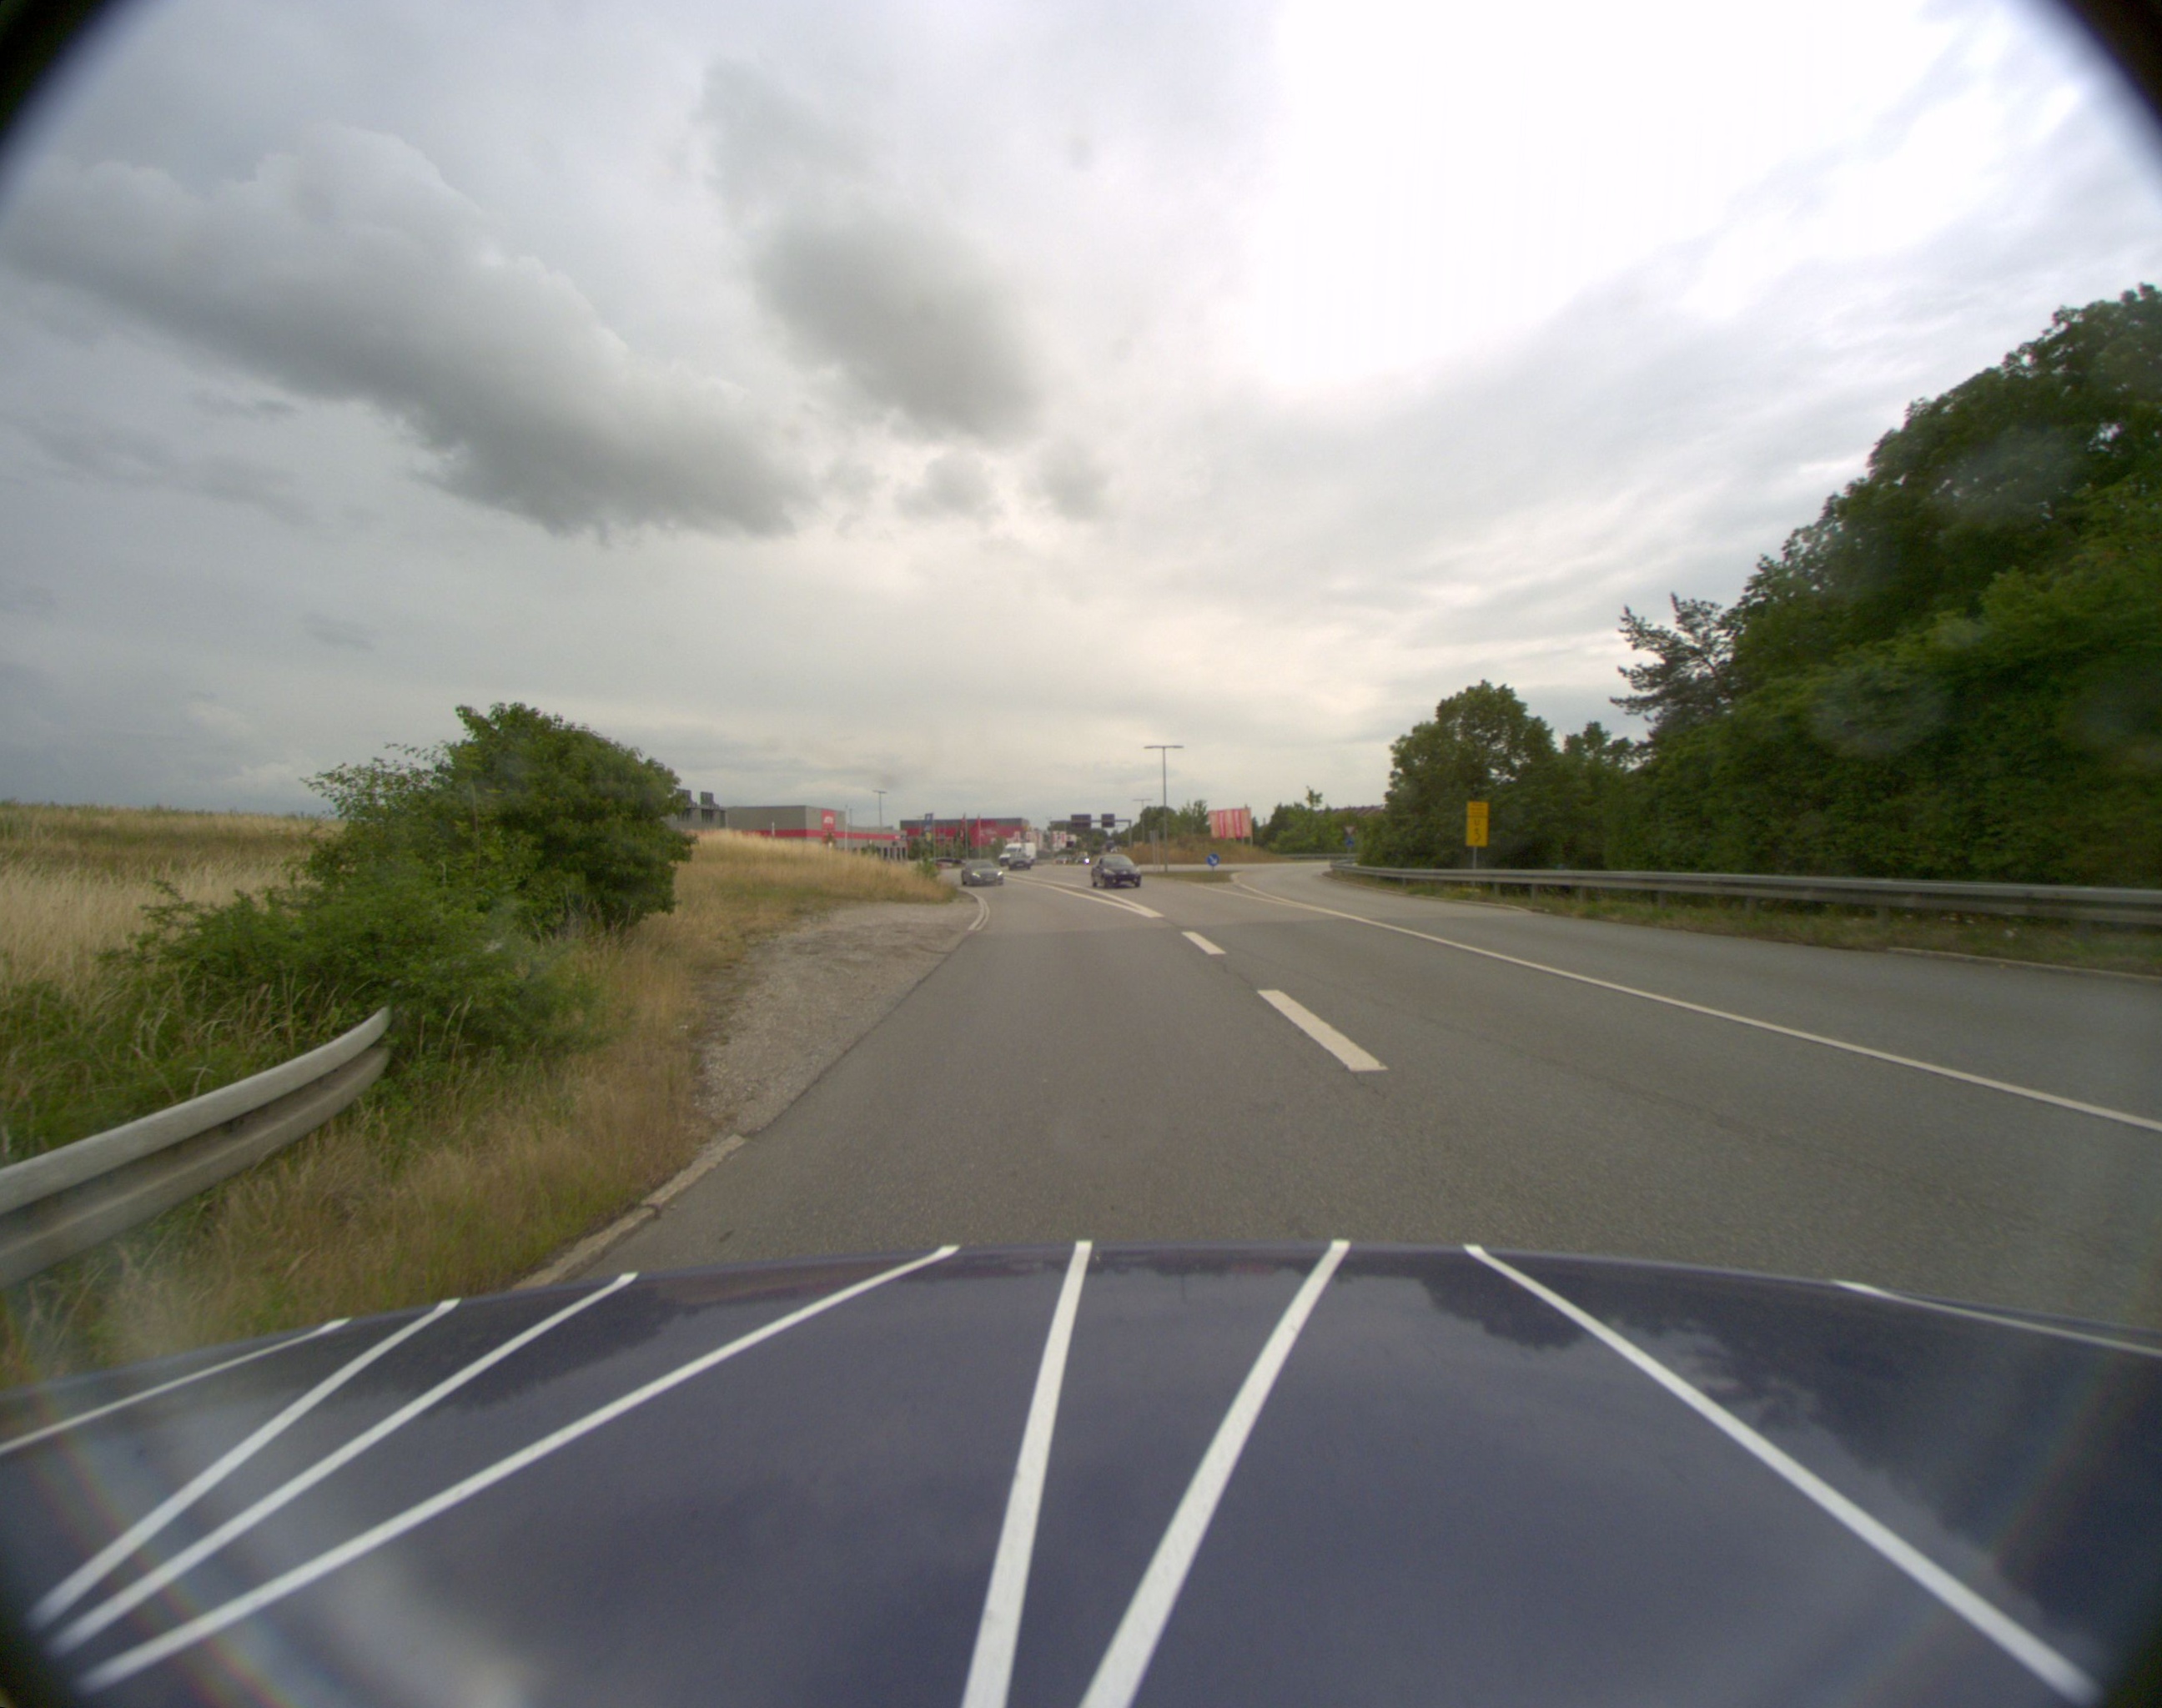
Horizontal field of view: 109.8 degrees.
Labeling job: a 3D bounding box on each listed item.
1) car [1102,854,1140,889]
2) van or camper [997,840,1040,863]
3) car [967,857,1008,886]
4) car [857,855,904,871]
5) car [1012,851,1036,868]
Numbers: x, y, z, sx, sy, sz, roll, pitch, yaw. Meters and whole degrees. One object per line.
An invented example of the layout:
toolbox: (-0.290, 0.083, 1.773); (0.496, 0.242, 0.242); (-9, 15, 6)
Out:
car: (1.840, 0.769, 34.982); (1.580, 1.346, 3.823); (-3, 1, 2)
van or camper: (-6.980, -0.271, 85.132); (2.048, 2.350, 5.550); (-2, 1, 28)
car: (-5.323, 0.950, 43.644); (1.764, 1.412, 4.090); (-3, 1, -1)
car: (-20.896, 0.951, 79.109); (4.561, 1.404, 1.857); (-3, 1, -21)
car: (-4.587, 0.429, 61.489); (1.579, 1.261, 3.314); (-2, 1, 1)
